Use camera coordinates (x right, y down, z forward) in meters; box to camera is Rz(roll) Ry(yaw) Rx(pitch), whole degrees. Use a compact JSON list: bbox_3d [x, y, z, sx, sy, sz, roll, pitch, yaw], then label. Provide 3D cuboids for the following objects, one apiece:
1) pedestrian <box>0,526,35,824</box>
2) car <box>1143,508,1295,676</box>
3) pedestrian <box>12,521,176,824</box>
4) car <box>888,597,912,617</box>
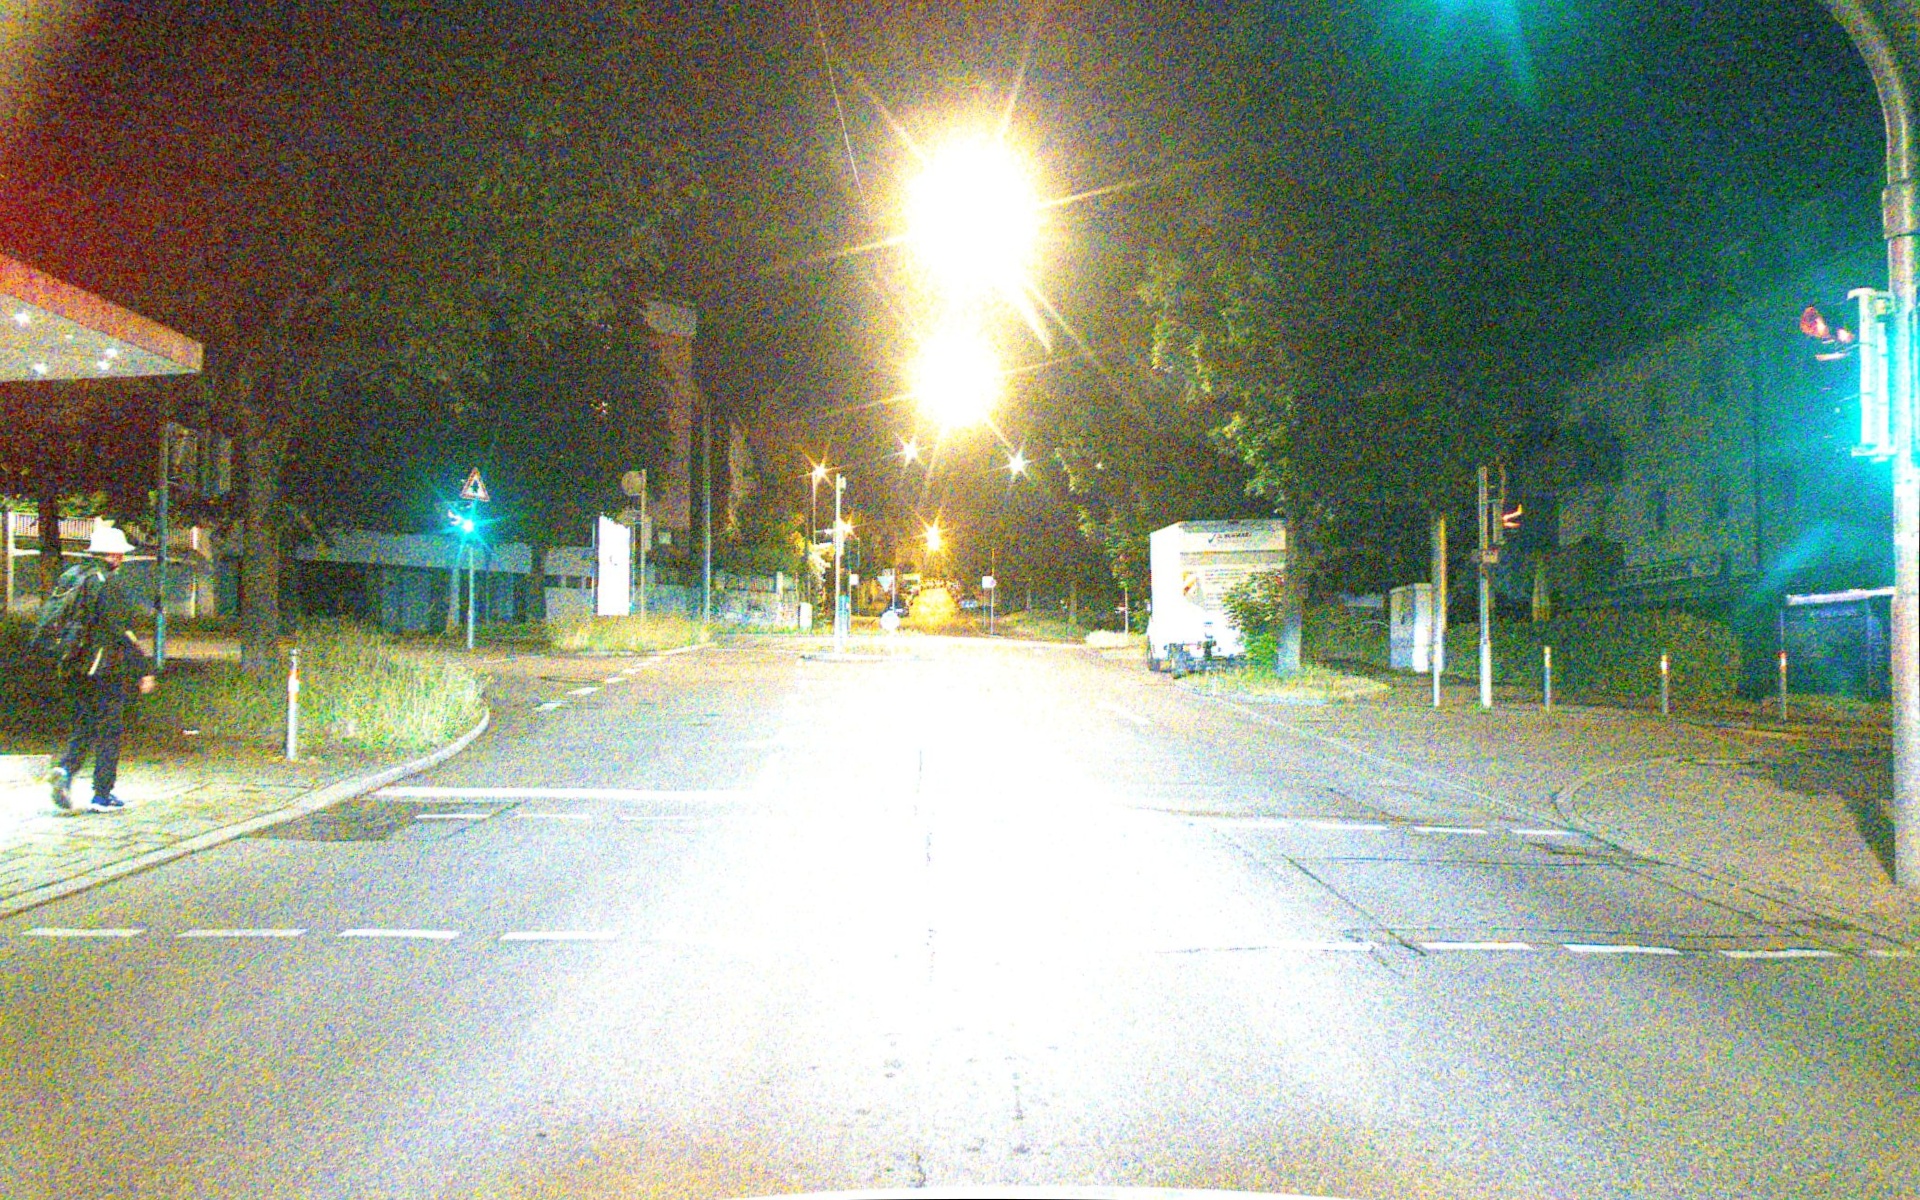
[{"bbox_3d":[-5.939,0.438,9.811,0.558,1.761,0.543,1,-1,-1],"label":"pedestrian"},{"bbox_3d":[5.252,-0.143,34.382,2.249,3.147,5.840,-1,0,1],"label":"car"},{"bbox_3d":[-5.413,0.441,10.378,0.558,1.808,0.737,3,-1,-1],"label":"pedestrian"},{"bbox_3d":[-4.843,0.545,134.309,1.869,1.585,3.903,1,0,-1],"label":"car"}]
